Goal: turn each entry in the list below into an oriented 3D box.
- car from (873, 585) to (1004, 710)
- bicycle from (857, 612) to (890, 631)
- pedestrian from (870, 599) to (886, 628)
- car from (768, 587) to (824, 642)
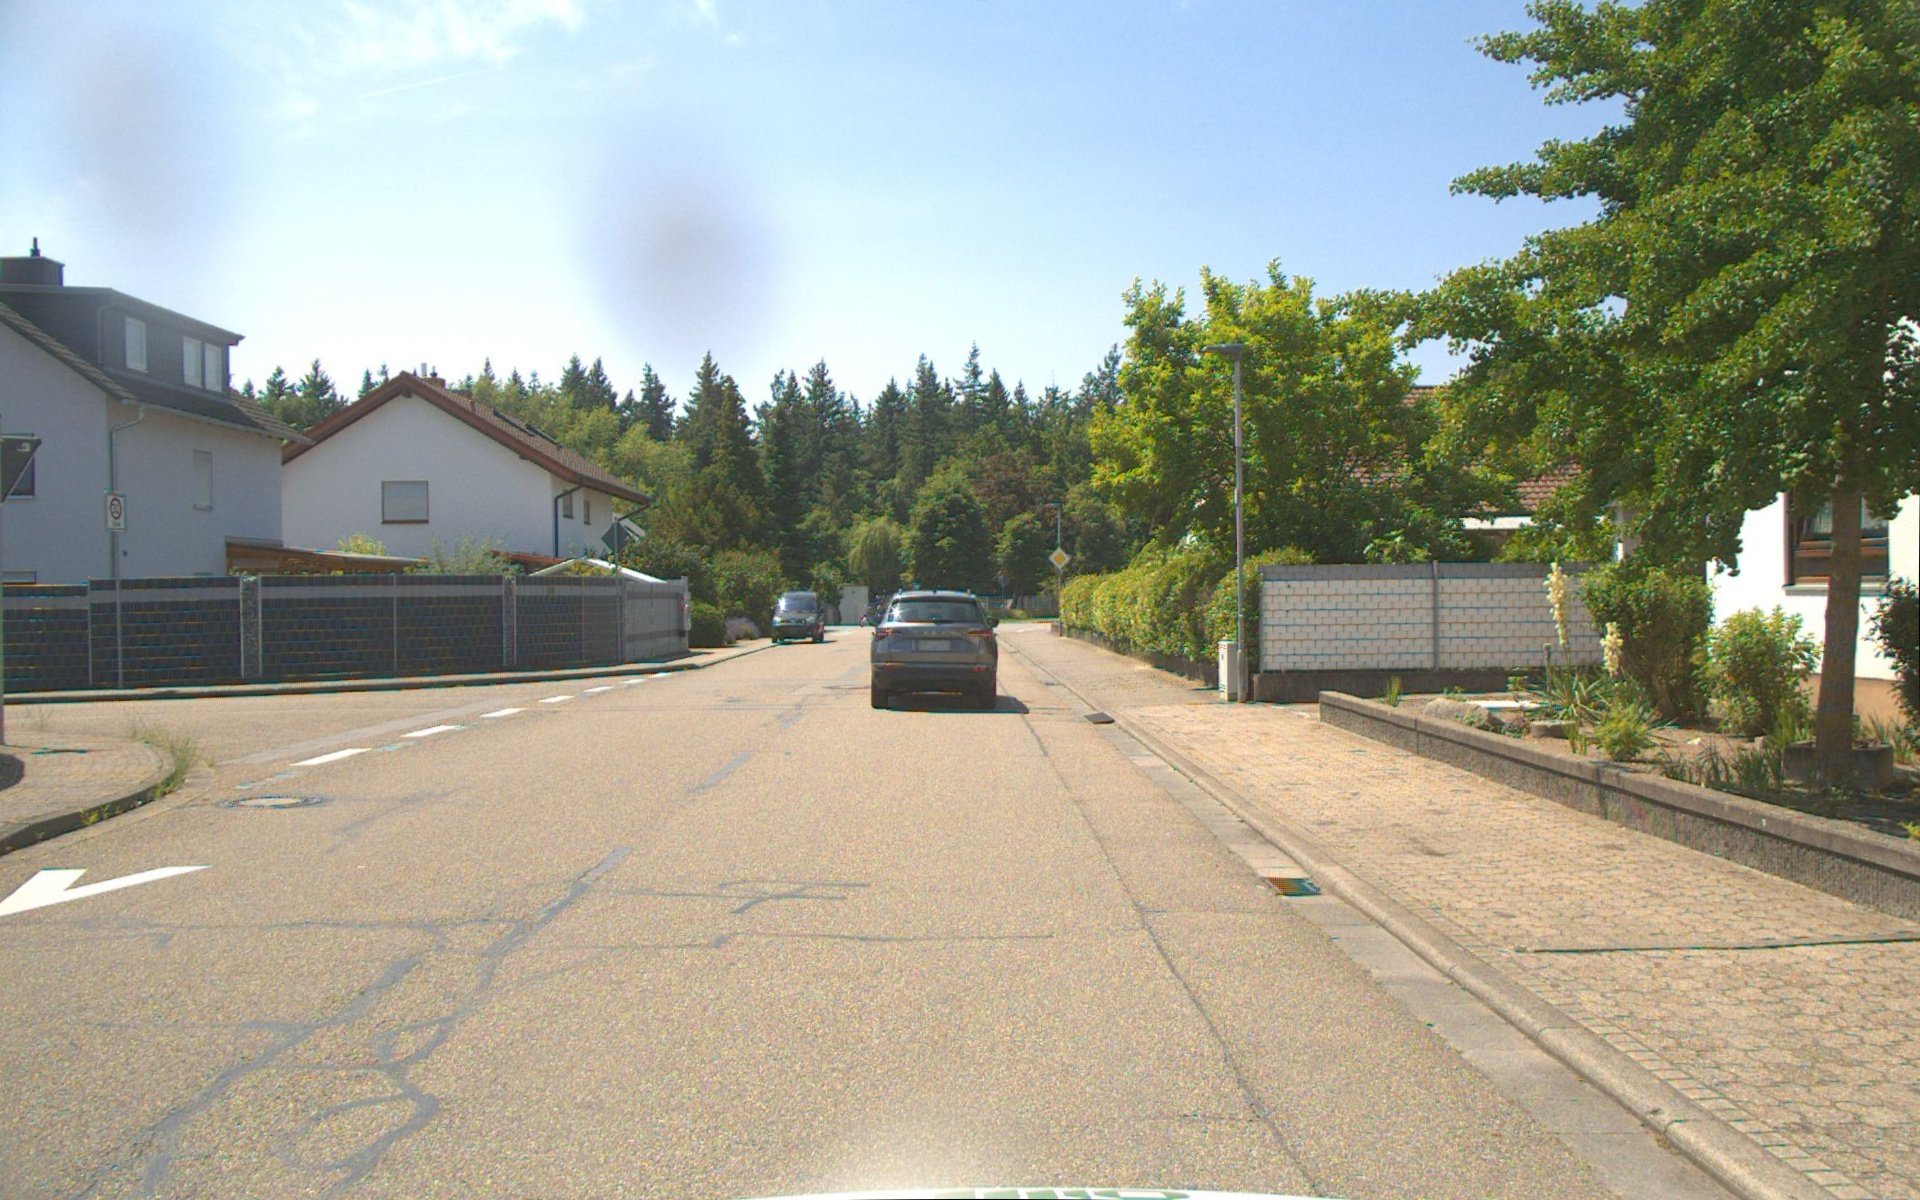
[{"bbox_3d":[-0.328,0.635,23.987,1.726,1.646,3.999,1,0,-1],"label":"car"},{"bbox_3d":[-4.565,1.141,87.248,1.831,0.980,0.437,-1,0,-40],"label":"bicycle"},{"bbox_3d":[-4.305,0.697,86.855,0.606,1.527,0.497,-1,0,-38],"label":"pedestrian"},{"bbox_3d":[-5.839,0.489,59.175,1.683,1.878,4.053,-1,0,-1],"label":"car"}]
